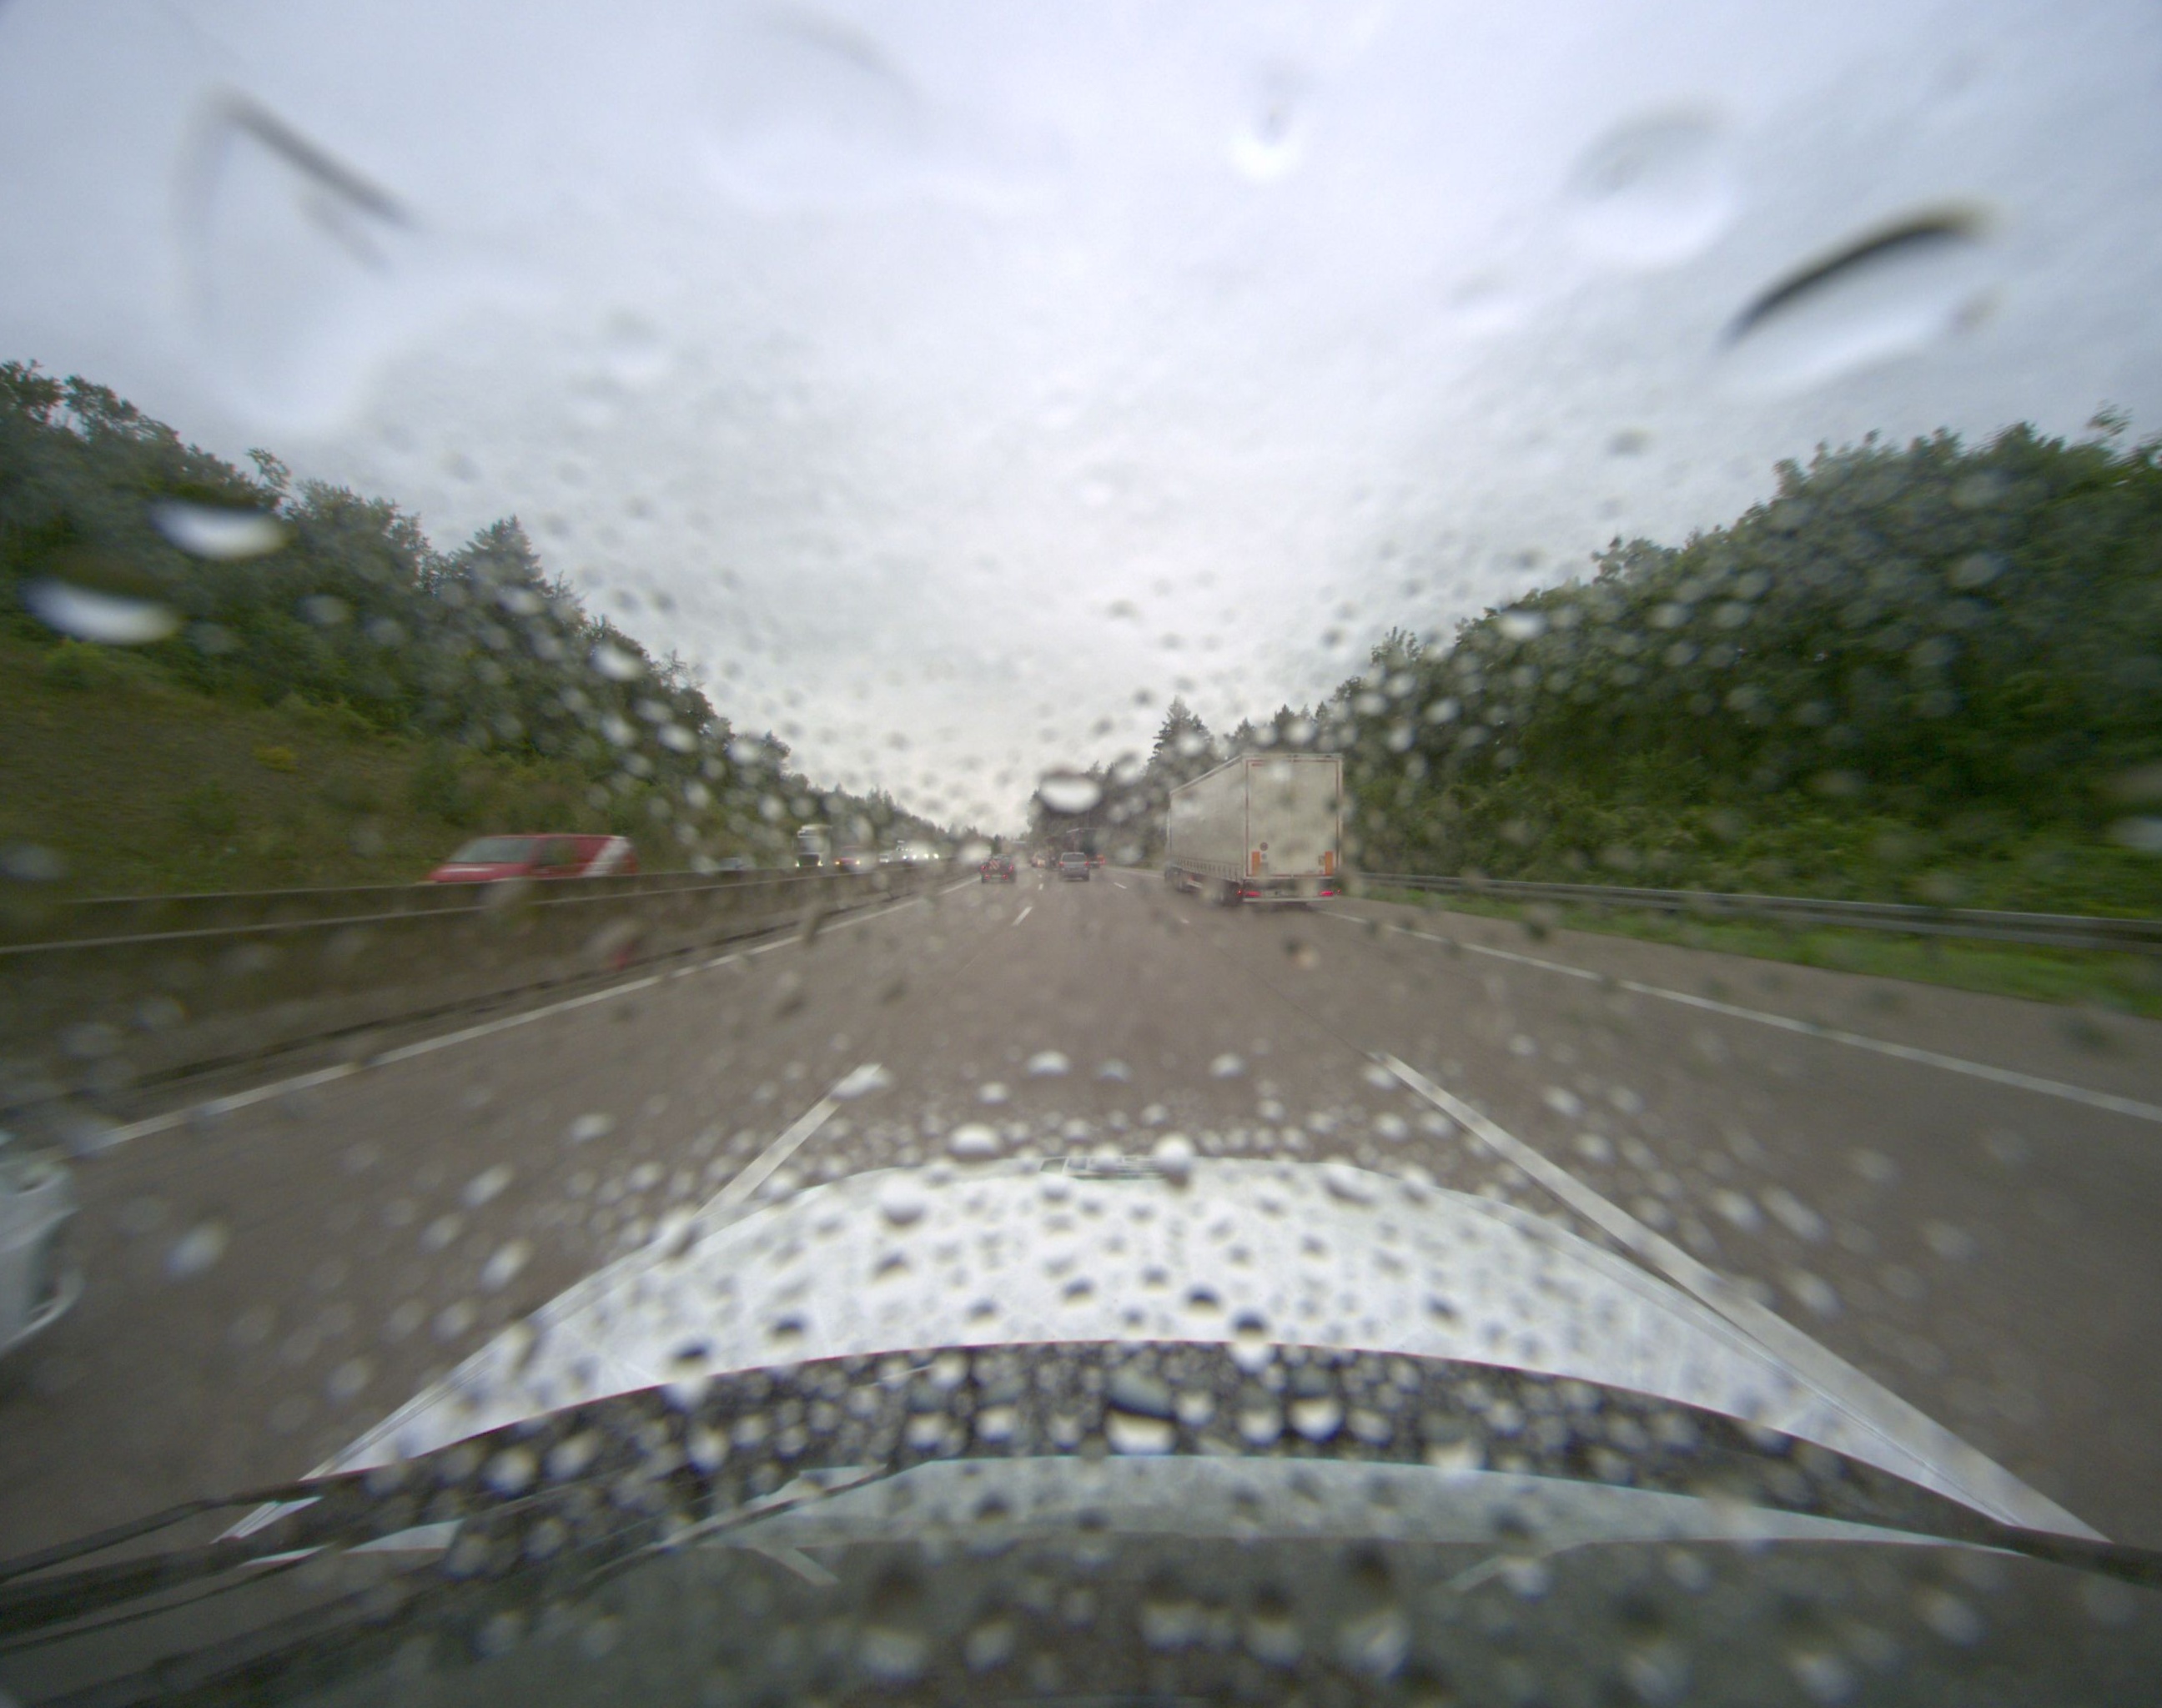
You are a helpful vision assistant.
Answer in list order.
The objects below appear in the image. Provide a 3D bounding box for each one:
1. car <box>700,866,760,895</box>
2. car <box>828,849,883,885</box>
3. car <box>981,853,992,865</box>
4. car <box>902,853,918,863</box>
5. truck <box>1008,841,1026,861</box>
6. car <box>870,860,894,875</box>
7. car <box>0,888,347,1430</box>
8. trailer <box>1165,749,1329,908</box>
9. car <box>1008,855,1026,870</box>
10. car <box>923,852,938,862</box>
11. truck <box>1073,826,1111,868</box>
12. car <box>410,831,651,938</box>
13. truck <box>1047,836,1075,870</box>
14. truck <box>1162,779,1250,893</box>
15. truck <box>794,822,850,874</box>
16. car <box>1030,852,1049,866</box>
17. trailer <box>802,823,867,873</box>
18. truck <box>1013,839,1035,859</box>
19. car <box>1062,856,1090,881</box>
[{"bbox_3d":[-18.815,1.380,43.824,1.618,1.393,3.996,-1,0,-3],"label":"car"},{"bbox_3d":[-13.814,0.749,50.274,1.988,2.082,5.329,-1,0,-1],"label":"car"},{"bbox_3d":[-17.151,0.882,148.108,1.723,2.014,3.649,-1,-1,-5],"label":"car"},{"bbox_3d":[-24.471,0.572,116.588,1.619,1.393,3.994,-1,0,-4],"label":"car"},{"bbox_3d":[-13.865,-0.603,177.677,3.734,4.210,6.806,-1,-1,-5],"label":"truck"},{"bbox_3d":[-19.933,1.318,81.710,1.619,1.393,3.994,-1,0,-4],"label":"car"},{"bbox_3d":[-3.806,0.847,0.722,1.706,1.407,4.938,-1,0,2],"label":"car"},{"bbox_3d":[4.905,-0.663,27.022,2.414,4.068,12.042,-1,0,-3],"label":"trailer"},{"bbox_3d":[-6.309,0.816,80.628,1.680,1.462,3.679,1,0,-3],"label":"car"},{"bbox_3d":[-21.205,0.430,114.541,1.619,1.393,3.994,-1,0,-4],"label":"car"},{"bbox_3d":[1.020,-0.725,86.736,3.361,4.131,10.426,-1,0,-3],"label":"truck"},{"bbox_3d":[-12.320,0.609,18.802,1.988,2.082,5.329,-1,0,-1],"label":"car"},{"bbox_3d":[-1.897,-0.176,74.118,2.264,2.886,7.894,-1,1,-3],"label":"truck"},{"bbox_3d":[4.755,-0.654,31.906,2.414,4.068,4.973,-1,0,-3],"label":"truck"},{"bbox_3d":[-22.796,-0.474,72.128,2.739,4.284,8.305,-1,0,-3],"label":"truck"},{"bbox_3d":[-4.522,0.545,88.344,1.876,1.473,3.999,1,0,-1],"label":"car"},{"bbox_3d":[-23.060,-0.501,77.090,2.739,4.284,13.699,-1,0,-3],"label":"trailer"},{"bbox_3d":[-8.738,-0.761,124.107,3.079,2.905,7.885,-1,1,-7],"label":"truck"},{"bbox_3d":[-0.303,0.786,46.481,1.549,1.351,3.682,1,0,-1],"label":"car"}]
